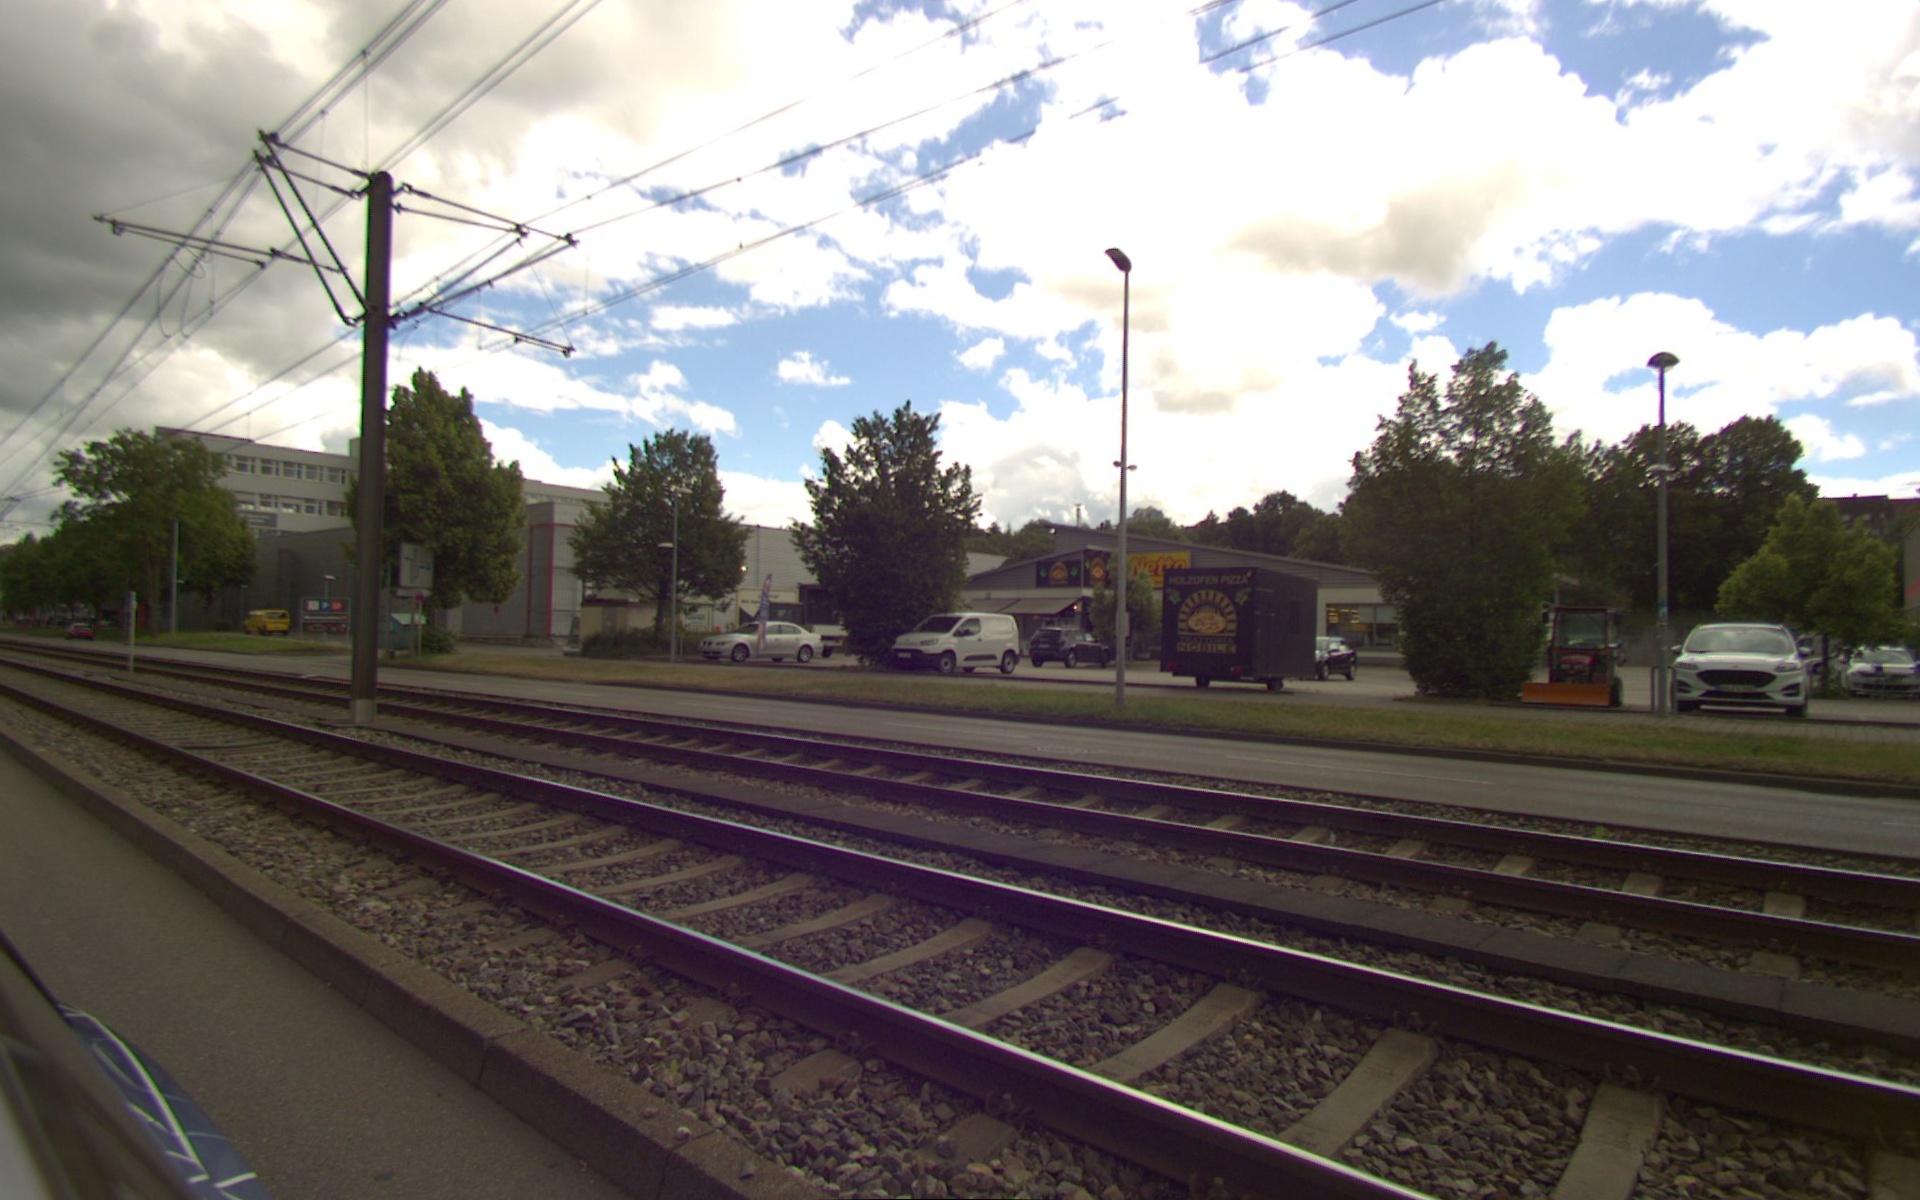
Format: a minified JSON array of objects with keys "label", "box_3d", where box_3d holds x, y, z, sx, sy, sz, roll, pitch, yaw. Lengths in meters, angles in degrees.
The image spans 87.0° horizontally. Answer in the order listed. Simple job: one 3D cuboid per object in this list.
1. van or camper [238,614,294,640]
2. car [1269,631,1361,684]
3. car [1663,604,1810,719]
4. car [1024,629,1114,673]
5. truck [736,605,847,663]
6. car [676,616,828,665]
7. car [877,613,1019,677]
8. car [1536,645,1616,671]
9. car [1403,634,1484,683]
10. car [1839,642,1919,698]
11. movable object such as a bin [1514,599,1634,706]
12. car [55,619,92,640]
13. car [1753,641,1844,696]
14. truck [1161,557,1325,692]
[{"label":"van or camper","box_3d":[-54.054,2.105,78.801,5.235,2.029,2.083,-1,-2,38]},{"label":"car","box_3d":[12.035,1.918,34.196,1.687,1.652,3.881,-1,-3,40]},{"label":"car","box_3d":[13.840,1.060,18.160,1.875,1.811,3.950,-1,-3,36]},{"label":"car","box_3d":[4.456,2.053,40.954,1.873,1.666,3.949,-1,-3,38]},{"label":"truck","box_3d":[-7.529,1.510,44.860,5.261,2.401,1.972,-1,-3,41]},{"label":"car","box_3d":[-7.449,1.485,36.552,2.651,1.641,4.730,-2,-3,42]},{"label":"car","box_3d":[-0.281,1.324,29.882,1.993,1.740,4.178,-1,-3,39]},{"label":"car","box_3d":[34.042,3.199,55.939,3.588,1.344,1.455,-1,-3,41]},{"label":"car","box_3d":[17.525,2.095,36.605,1.687,1.652,3.881,-1,-3,40]},{"label":"car","box_3d":[26.628,1.974,29.020,1.676,1.483,3.710,-1,-3,34]},{"label":"movable object such as a bin","box_3d":[12.572,1.060,20.606,1.676,1.952,3.949,-1,-3,37]},{"label":"car","box_3d":[-75.974,2.519,86.728,3.996,1.785,1.774,-1,-3,40]},{"label":"car","box_3d":[24.436,1.953,29.611,1.676,1.483,3.710,-1,-3,34]},{"label":"truck","box_3d":[6.676,0.612,23.645,2.373,2.843,3.948,-1,-3,38]}]
